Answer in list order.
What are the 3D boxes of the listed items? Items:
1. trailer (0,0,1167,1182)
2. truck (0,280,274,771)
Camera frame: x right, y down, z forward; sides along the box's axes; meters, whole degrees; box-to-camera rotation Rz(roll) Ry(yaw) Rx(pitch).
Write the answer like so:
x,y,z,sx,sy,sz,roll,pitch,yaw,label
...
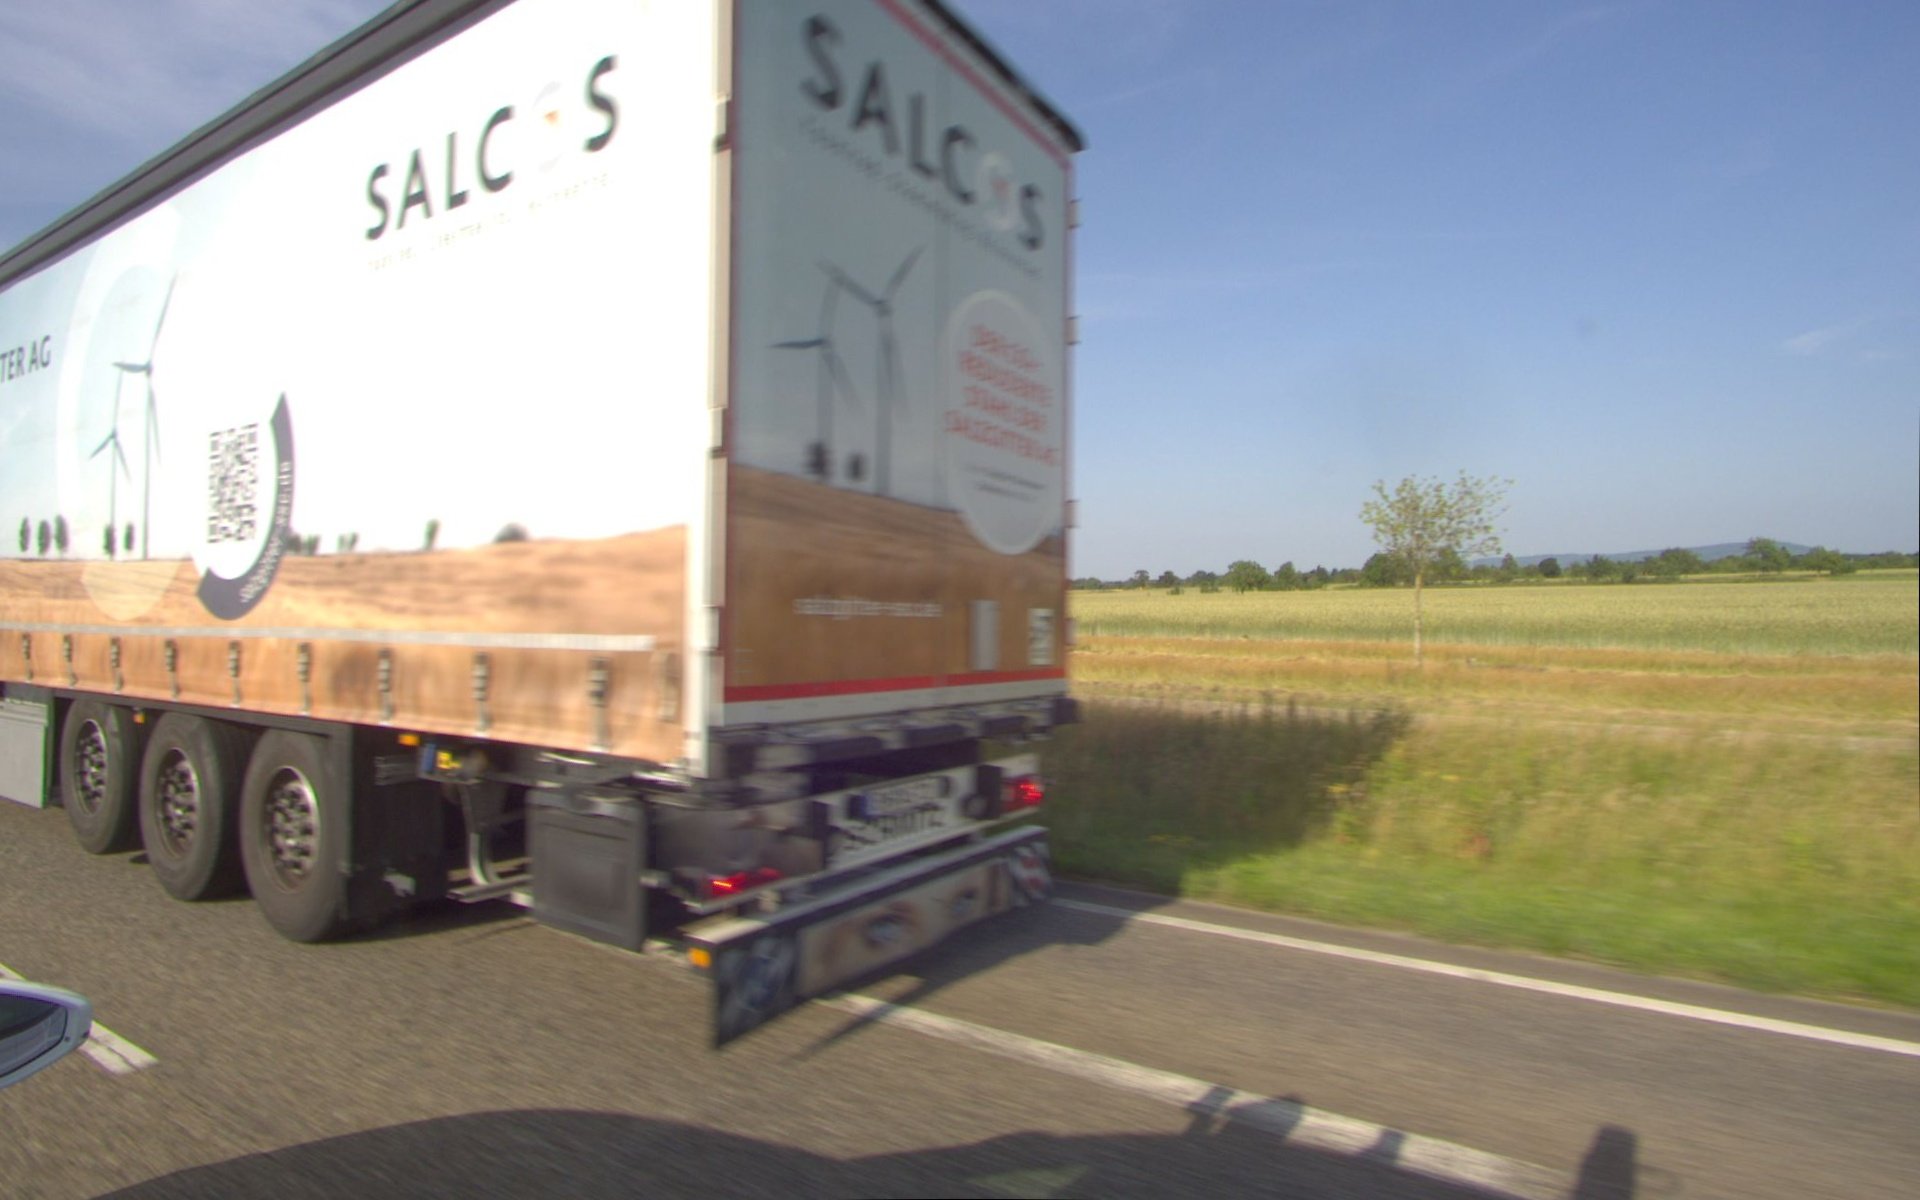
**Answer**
x,y,z,sx,sy,sz,roll,pitch,yaw,label
-5.151,-0.736,7.678,12.965,4.742,3.274,-1,-1,34,trailer
-11.192,-0.671,11.802,5.653,4.718,3.292,0,-1,34,truck
